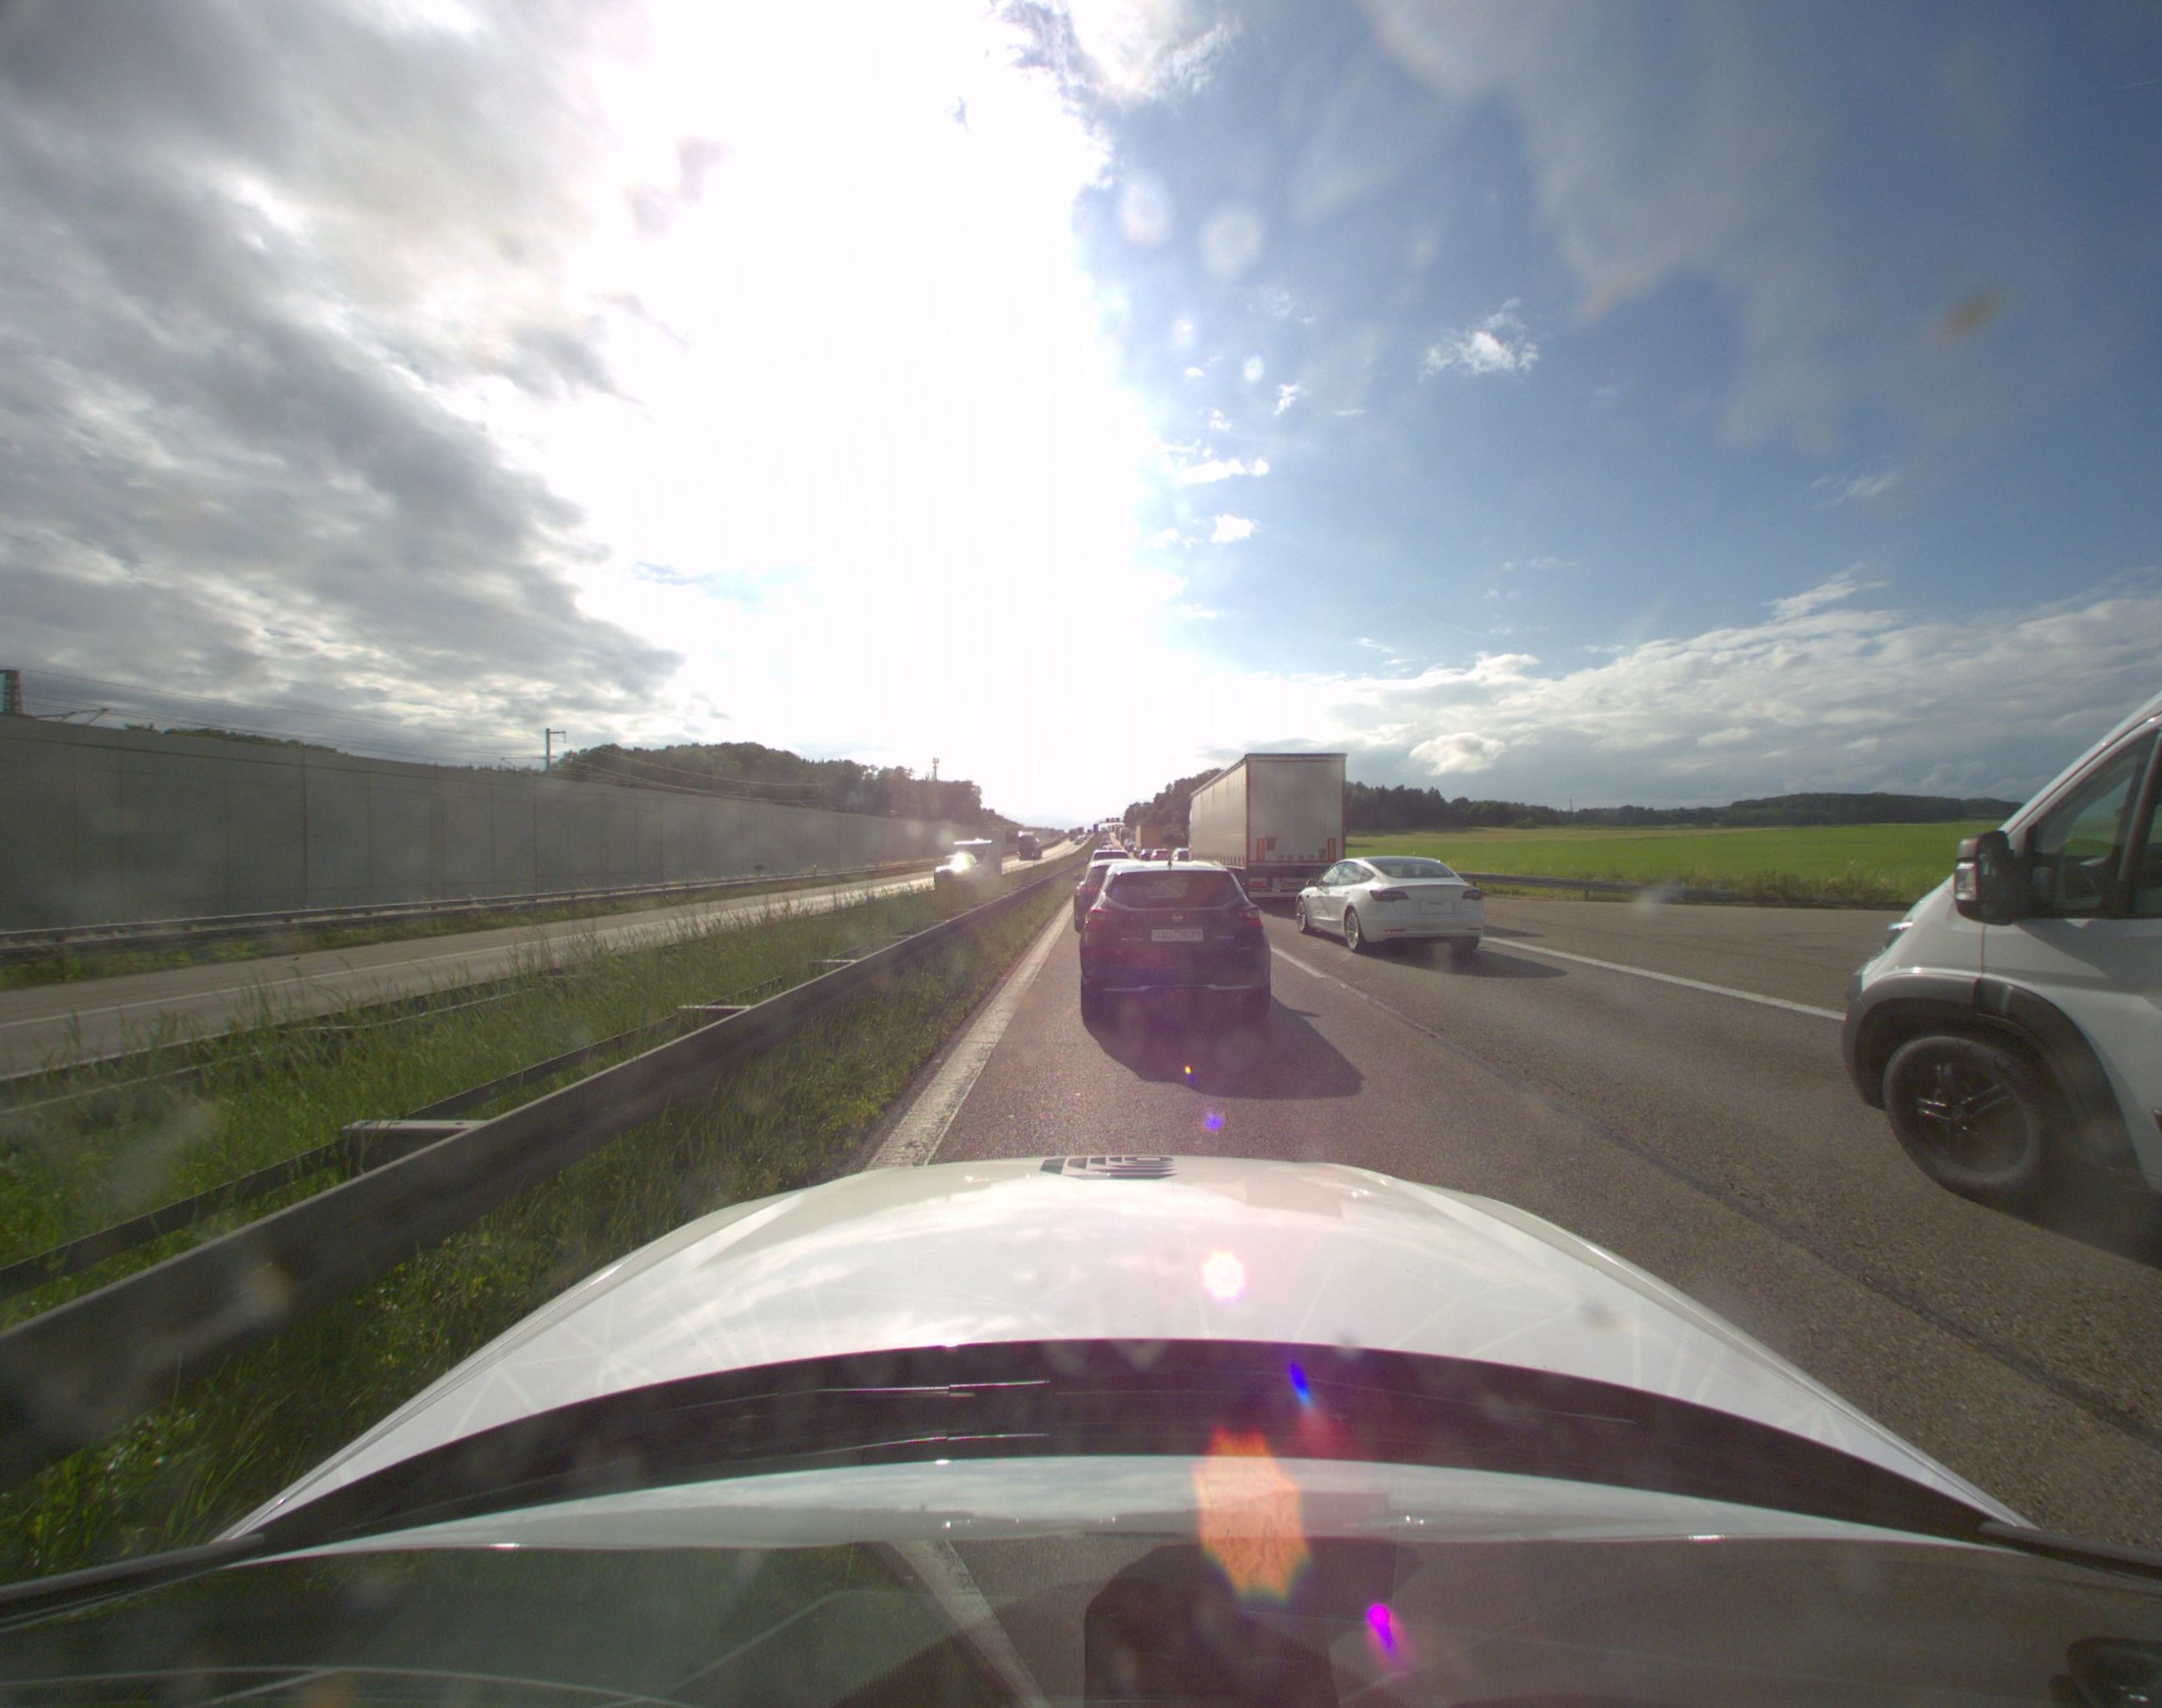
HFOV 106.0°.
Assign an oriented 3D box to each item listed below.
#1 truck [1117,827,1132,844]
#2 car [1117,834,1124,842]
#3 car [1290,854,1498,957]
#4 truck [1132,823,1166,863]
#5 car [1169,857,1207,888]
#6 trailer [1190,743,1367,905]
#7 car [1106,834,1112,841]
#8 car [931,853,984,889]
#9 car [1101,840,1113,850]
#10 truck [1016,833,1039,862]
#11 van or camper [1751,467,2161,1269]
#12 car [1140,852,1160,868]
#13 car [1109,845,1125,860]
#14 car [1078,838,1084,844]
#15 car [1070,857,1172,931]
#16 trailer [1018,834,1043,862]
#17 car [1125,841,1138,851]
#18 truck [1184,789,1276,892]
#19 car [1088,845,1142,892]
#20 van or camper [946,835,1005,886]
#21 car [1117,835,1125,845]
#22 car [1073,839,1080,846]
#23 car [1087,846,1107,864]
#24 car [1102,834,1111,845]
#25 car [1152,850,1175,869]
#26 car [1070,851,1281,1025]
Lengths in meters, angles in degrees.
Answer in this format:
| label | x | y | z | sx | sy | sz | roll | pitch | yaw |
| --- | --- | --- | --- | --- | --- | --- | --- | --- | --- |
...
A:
| label | x | y | z | sx | sy | sz | roll | pitch | yaw |
| --- | --- | --- | --- | --- | --- | --- | --- | --- | --- |
| truck | 11.970 | -4.991 | 225.864 | 3.452 | 4.576 | 12.442 | 0 | 1 | 1 |
| car | 12.332 | -5.072 | 255.281 | 1.866 | 2.158 | 5.214 | -1 | 3 | 2 |
| car | 4.897 | 0.716 | 13.482 | 1.782 | 1.394 | 4.437 | -1 | 0 | 1 |
| truck | 8.250 | -1.176 | 100.770 | 3.286 | 4.577 | 12.440 | 0 | -1 | 1 |
| car | 5.798 | 0.974 | 44.491 | 1.690 | 1.610 | 4.440 | -1 | 0 | 3 |
| trailer | 5.834 | -0.626 | 27.064 | 3.118 | 4.011 | 13.373 | -1 | -1 | 2 |
| car | 8.622 | -5.187 | 252.083 | 1.866 | 2.158 | 5.214 | -1 | 3 | 2 |
| car | -6.235 | 0.830 | 41.466 | 1.903 | 1.671 | 4.363 | -1 | 0 | 1 |
| car | 4.386 | -1.489 | 137.889 | 1.867 | 1.644 | 4.233 | -1 | 1 | 1 |
| truck | -7.690 | -0.885 | 118.176 | 2.573 | 3.923 | 5.724 | -2 | 0 | 2 |
| van or camper | 4.676 | 0.025 | 1.211 | 2.207 | 2.681 | 6.334 | -1 | 0 | 1 |
| car | 7.408 | 0.634 | 87.278 | 1.866 | 1.644 | 4.234 | -1 | 0 | 2 |
| car | 4.300 | -0.177 | 97.191 | 1.866 | 1.644 | 4.235 | -1 | 1 | 2 |
| car | 0.016 | -3.946 | 244.215 | 1.691 | 1.499 | 4.428 | -1 | 0 | 1 |
| car | 0.827 | 0.761 | 17.389 | 1.866 | 1.358 | 4.234 | -1 | 0 | 2 |
| trailer | -7.555 | -0.819 | 123.476 | 2.579 | 3.902 | 10.867 | -2 | 0 | 1 |
| car | 8.908 | -1.456 | 143.141 | 1.868 | 1.644 | 4.230 | -1 | 1 | -1 |
| truck | 6.143 | -0.498 | 34.452 | 3.121 | 4.016 | 5.166 | -1 | -1 | 2 |
| car | 1.266 | 0.528 | 30.972 | 1.866 | 1.644 | 4.234 | -1 | 0 | 2 |
| van or camper | -6.011 | 0.357 | 47.259 | 2.244 | 2.704 | 7.172 | -1 | 0 | 1 |
| car | 9.897 | -3.471 | 200.008 | 1.866 | 2.158 | 5.214 | -1 | 3 | 2 |
| car | -1.278 | -3.119 | 221.947 | 1.774 | 1.737 | 4.104 | -1 | 0 | 2 |
| car | 1.583 | 0.063 | 78.314 | 1.866 | 1.644 | 4.234 | -1 | 1 | 2 |
| car | 5.649 | -3.213 | 181.388 | 1.866 | 2.158 | 5.214 | -1 | 3 | 2 |
| car | 7.840 | 0.529 | 77.887 | 1.866 | 1.644 | 4.234 | -1 | 1 | 2 |
| car | 0.883 | 0.728 | 9.091 | 1.766 | 1.451 | 4.234 | -1 | 0 | 2 |
